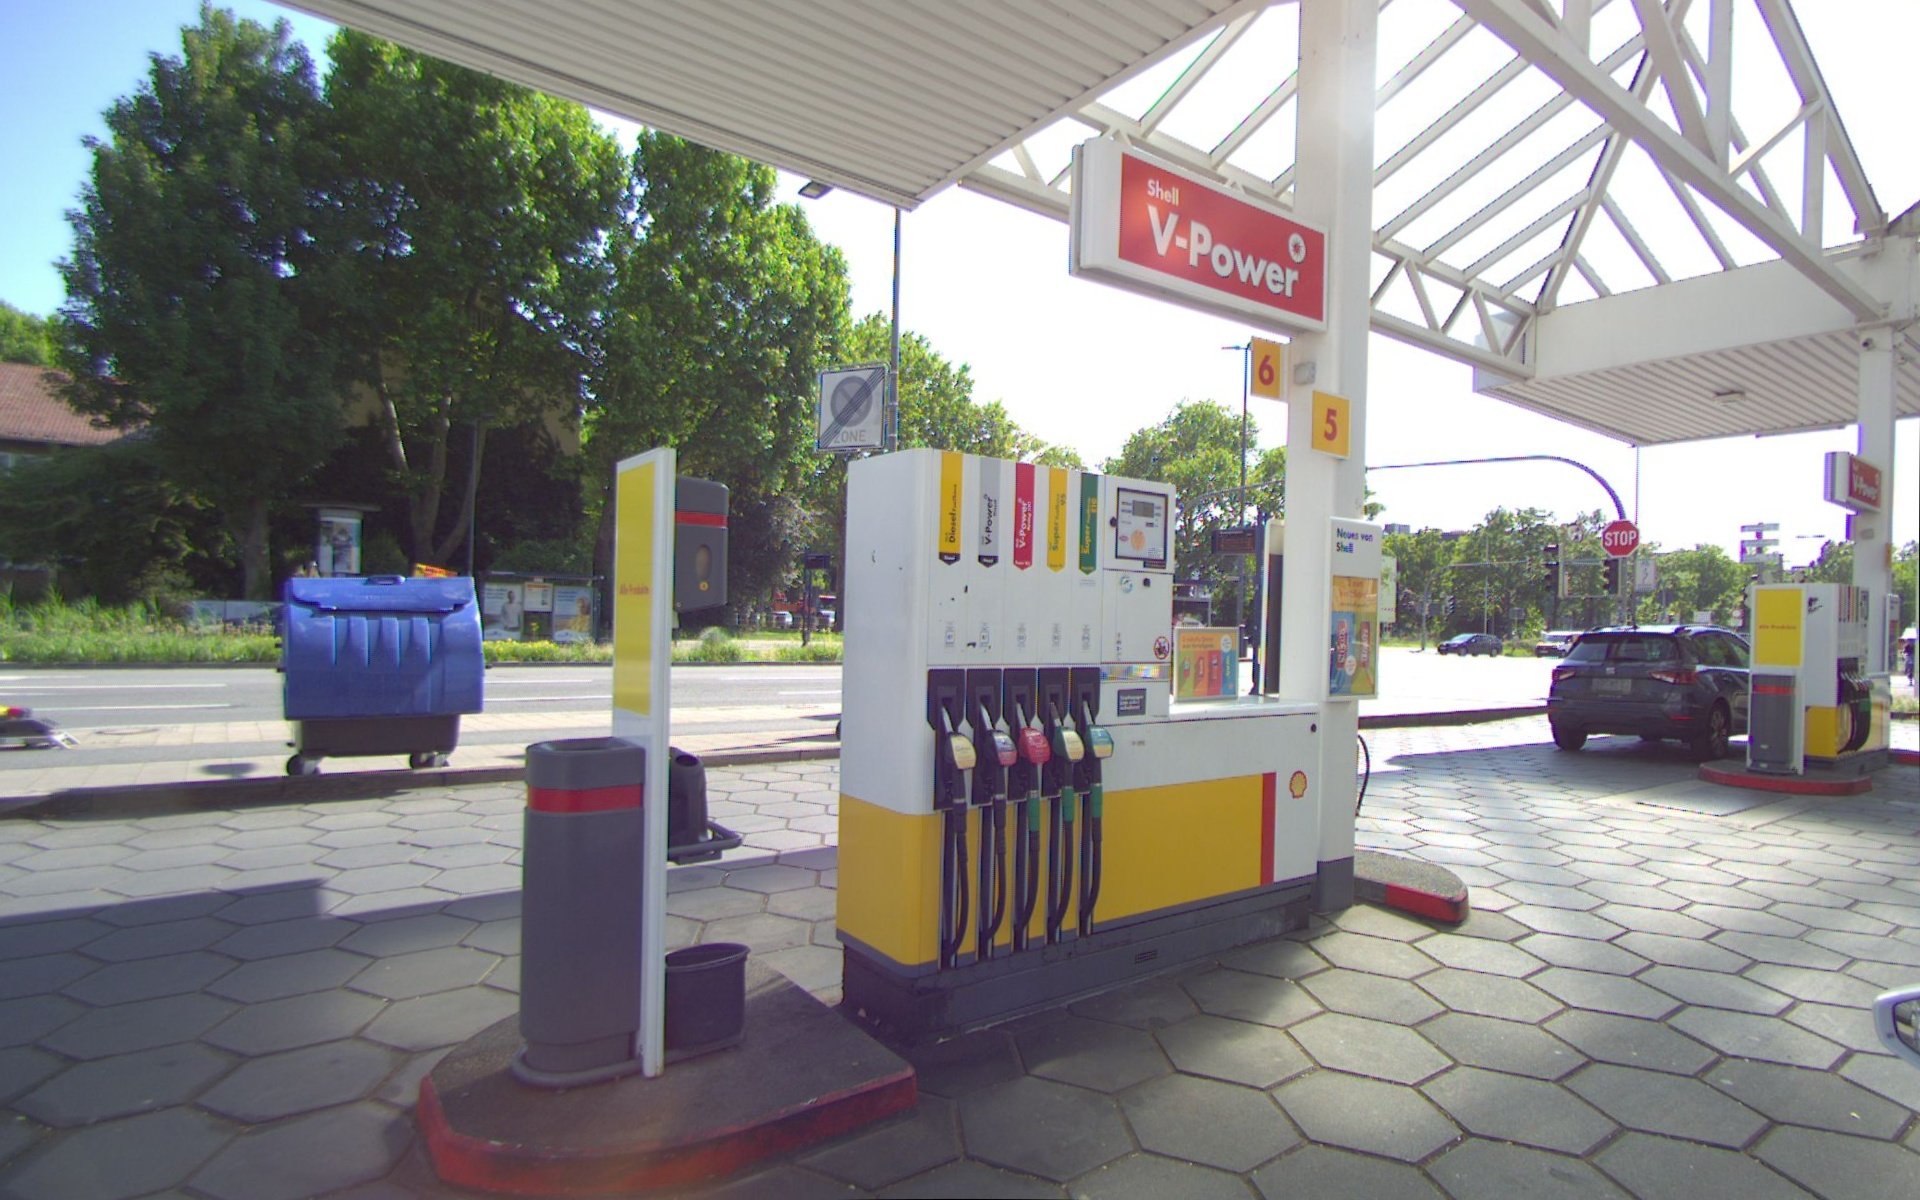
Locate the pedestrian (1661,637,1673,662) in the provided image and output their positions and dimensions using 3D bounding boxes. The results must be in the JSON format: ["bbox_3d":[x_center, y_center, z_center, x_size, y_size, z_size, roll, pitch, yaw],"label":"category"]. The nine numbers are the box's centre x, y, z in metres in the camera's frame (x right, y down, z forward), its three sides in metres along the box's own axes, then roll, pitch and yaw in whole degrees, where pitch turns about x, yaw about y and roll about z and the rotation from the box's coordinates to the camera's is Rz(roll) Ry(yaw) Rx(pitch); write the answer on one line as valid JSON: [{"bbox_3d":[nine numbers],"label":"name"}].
[{"bbox_3d":[42.722,2.982,60.697,0.555,1.488,0.512,1,0,34],"label":"pedestrian"}]

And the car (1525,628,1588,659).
[{"bbox_3d":[41.440,3.015,69.769,4.398,2.040,1.983,3,-3,-32],"label":"car"}]

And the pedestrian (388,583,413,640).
[{"bbox_3d":[-17.880,0.381,32.098,0.649,1.776,0.580,2,-3,-30],"label":"pedestrian"}]

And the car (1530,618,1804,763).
[{"bbox_3d":[9.016,1.068,12.705,3.963,1.552,1.731,3,-2,-37],"label":"car"}]

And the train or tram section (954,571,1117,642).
[{"bbox_3d":[4.908,0.411,71.012,2.307,4.549,14.790,3,-1,-36],"label":"train or tram section"}]

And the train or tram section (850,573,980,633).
[{"bbox_3d":[-4.091,0.231,83.402,2.307,4.549,15.761,3,-1,-36],"label":"train or tram section"}]

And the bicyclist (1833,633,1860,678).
[{"bbox_3d":[32.615,2.024,36.950,1.166,1.601,0.631,2,-1,-45],"label":"bicyclist"}]

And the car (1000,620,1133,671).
[{"bbox_3d":[3.308,1.410,30.870,3.965,1.385,1.667,3,1,-37],"label":"car"}]

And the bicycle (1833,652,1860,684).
[{"bbox_3d":[32.667,2.488,37.011,0.631,1.096,2.014,1,-1,44],"label":"bicycle"}]

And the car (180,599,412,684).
[{"bbox_3d":[-15.474,0.965,23.541,4.351,1.792,1.979,2,-1,-38],"label":"car"}]

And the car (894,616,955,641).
[{"bbox_3d":[-2.299,1.838,64.353,1.855,1.532,3.951,3,-3,-42],"label":"car"}]

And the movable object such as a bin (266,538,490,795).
[{"bbox_3d":[-4.431,0.485,7.628,1.324,1.710,1.330,2,-3,-35],"label":"movable object such as a bin"}]

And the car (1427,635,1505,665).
[{"bbox_3d":[32.767,3.259,65.092,4.132,1.829,1.999,1,-2,-6],"label":"car"}]
